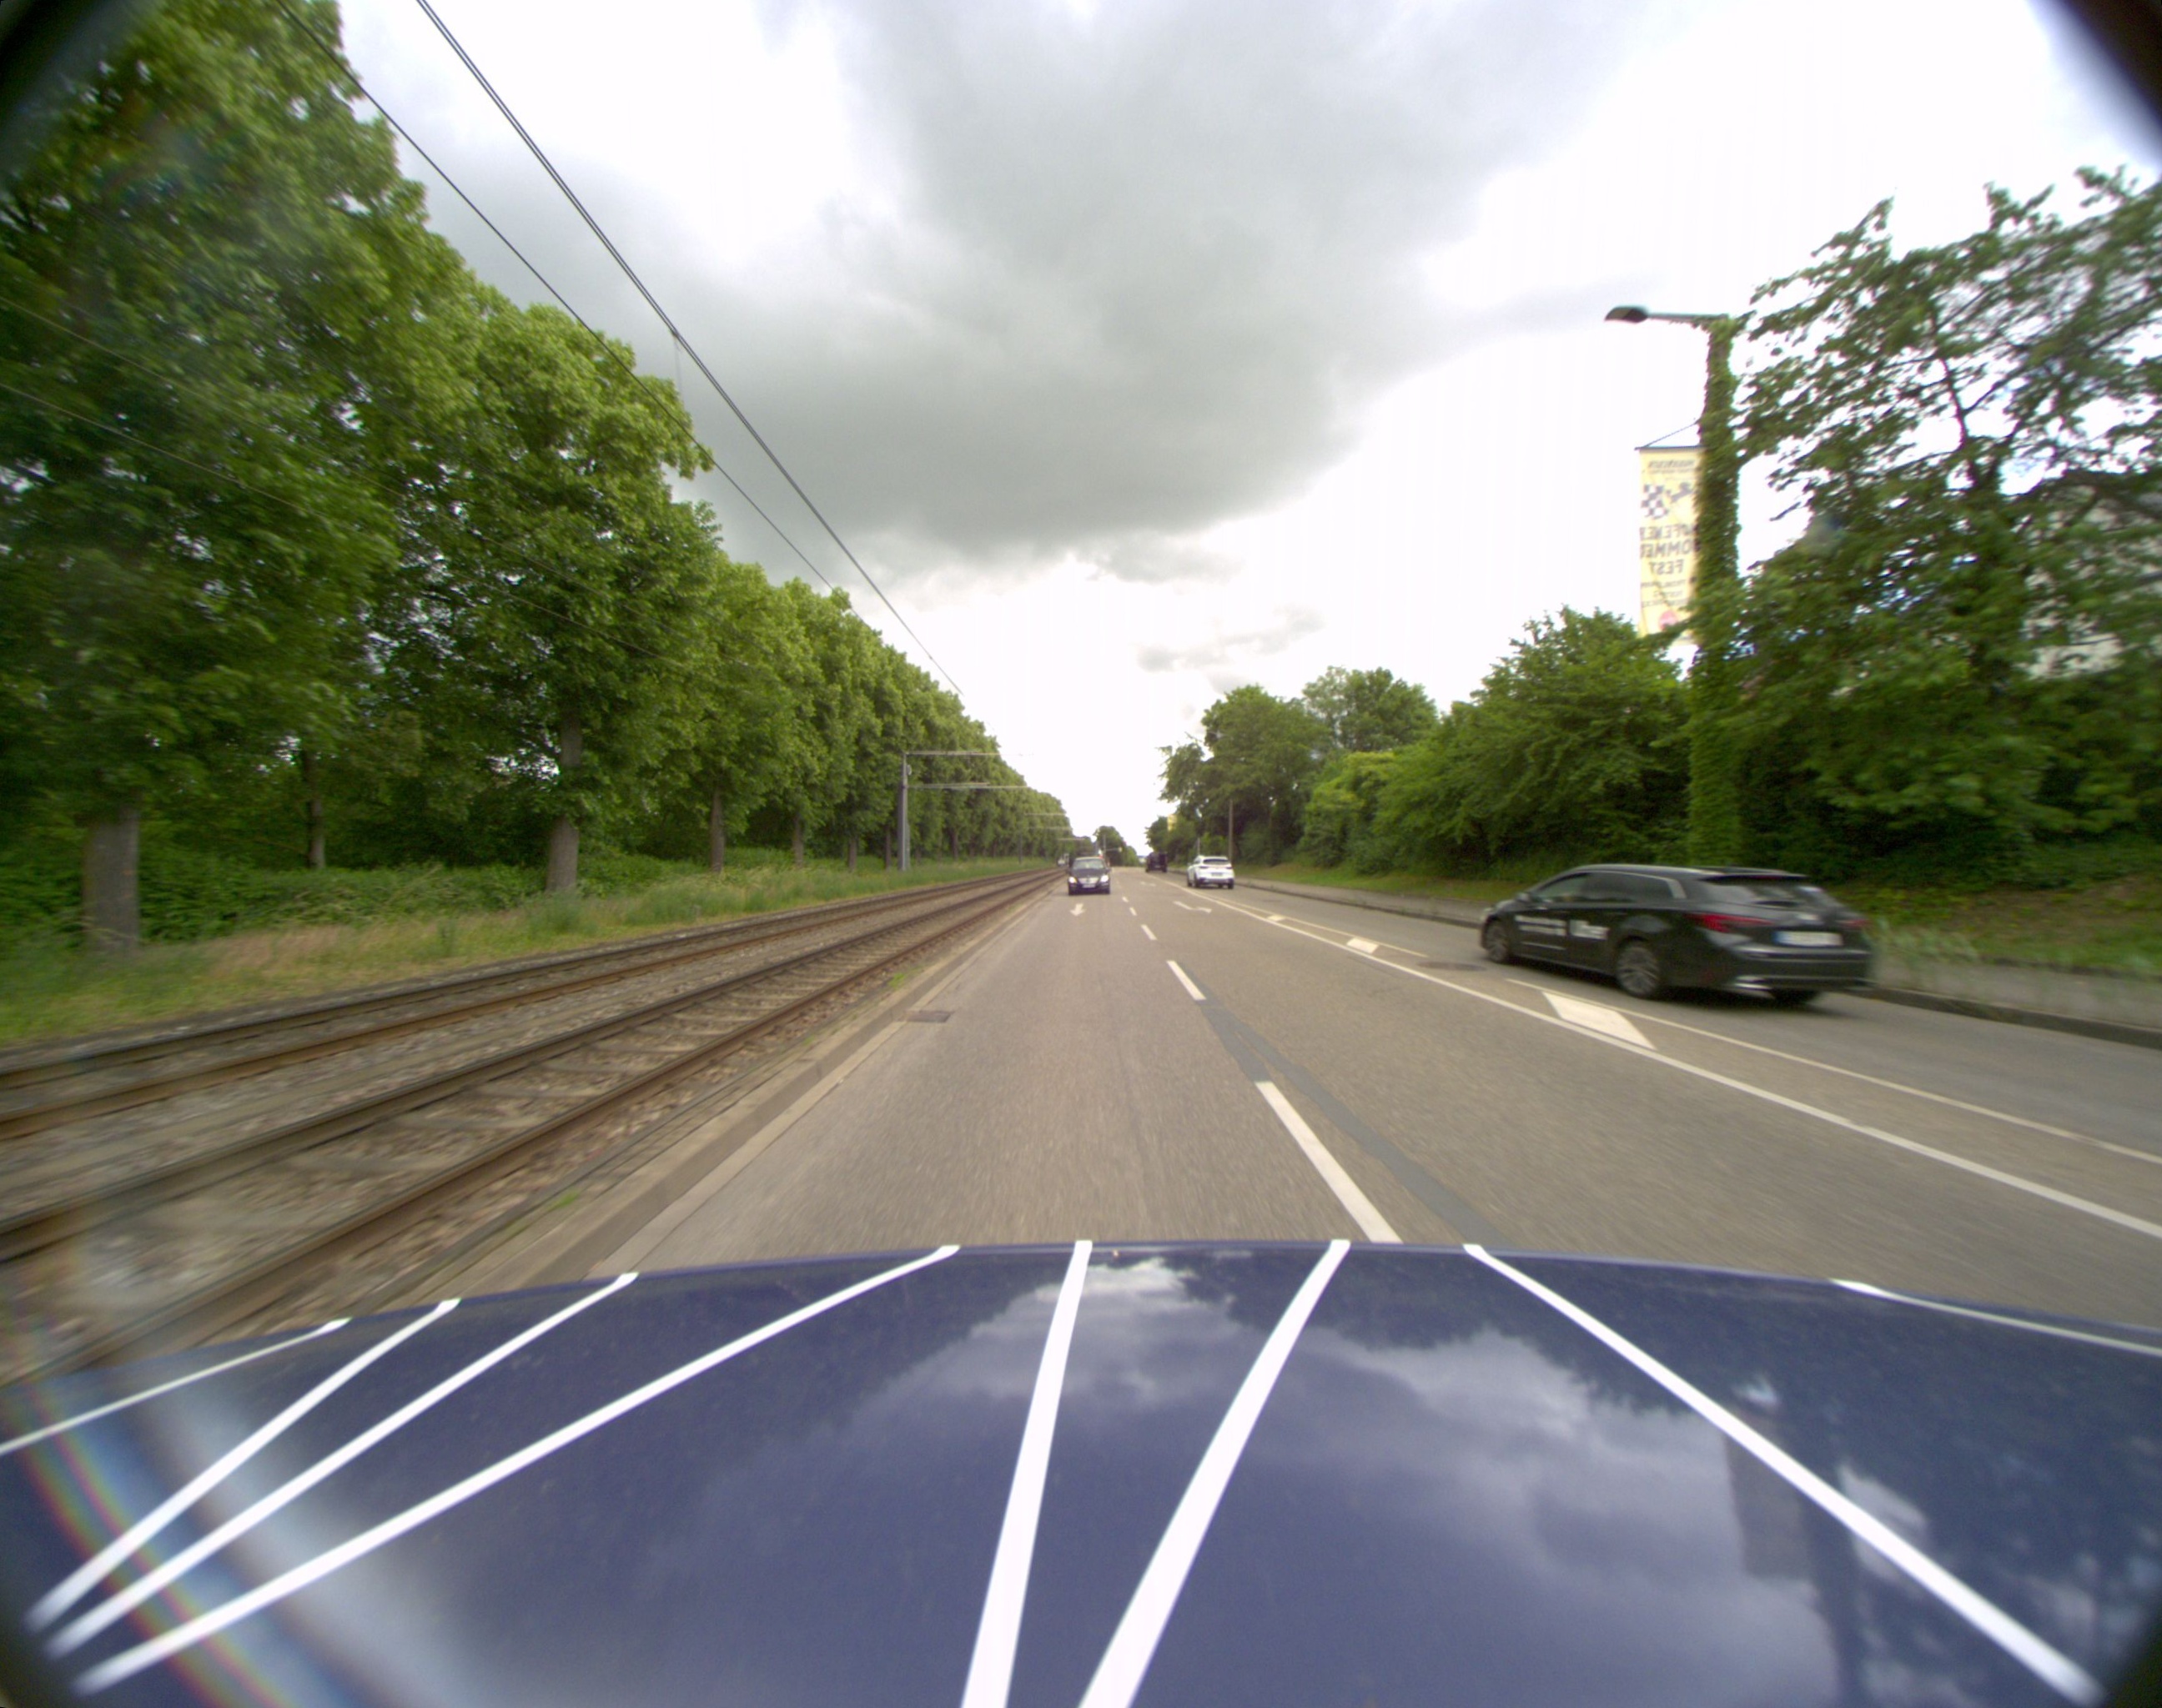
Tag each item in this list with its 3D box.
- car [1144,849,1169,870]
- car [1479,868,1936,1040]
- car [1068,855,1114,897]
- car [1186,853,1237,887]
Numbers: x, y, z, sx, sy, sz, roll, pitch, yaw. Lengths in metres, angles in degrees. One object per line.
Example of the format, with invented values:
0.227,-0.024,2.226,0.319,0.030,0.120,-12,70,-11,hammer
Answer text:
7.648,0.526,76.971,1.998,2.024,5.115,0,0,0,car
6.652,0.926,8.831,1.771,1.392,4.215,1,0,-1,car
0.421,0.881,31.784,1.749,1.558,4.121,-3,0,1,car
6.513,0.748,38.250,1.846,1.611,4.159,1,0,0,car
